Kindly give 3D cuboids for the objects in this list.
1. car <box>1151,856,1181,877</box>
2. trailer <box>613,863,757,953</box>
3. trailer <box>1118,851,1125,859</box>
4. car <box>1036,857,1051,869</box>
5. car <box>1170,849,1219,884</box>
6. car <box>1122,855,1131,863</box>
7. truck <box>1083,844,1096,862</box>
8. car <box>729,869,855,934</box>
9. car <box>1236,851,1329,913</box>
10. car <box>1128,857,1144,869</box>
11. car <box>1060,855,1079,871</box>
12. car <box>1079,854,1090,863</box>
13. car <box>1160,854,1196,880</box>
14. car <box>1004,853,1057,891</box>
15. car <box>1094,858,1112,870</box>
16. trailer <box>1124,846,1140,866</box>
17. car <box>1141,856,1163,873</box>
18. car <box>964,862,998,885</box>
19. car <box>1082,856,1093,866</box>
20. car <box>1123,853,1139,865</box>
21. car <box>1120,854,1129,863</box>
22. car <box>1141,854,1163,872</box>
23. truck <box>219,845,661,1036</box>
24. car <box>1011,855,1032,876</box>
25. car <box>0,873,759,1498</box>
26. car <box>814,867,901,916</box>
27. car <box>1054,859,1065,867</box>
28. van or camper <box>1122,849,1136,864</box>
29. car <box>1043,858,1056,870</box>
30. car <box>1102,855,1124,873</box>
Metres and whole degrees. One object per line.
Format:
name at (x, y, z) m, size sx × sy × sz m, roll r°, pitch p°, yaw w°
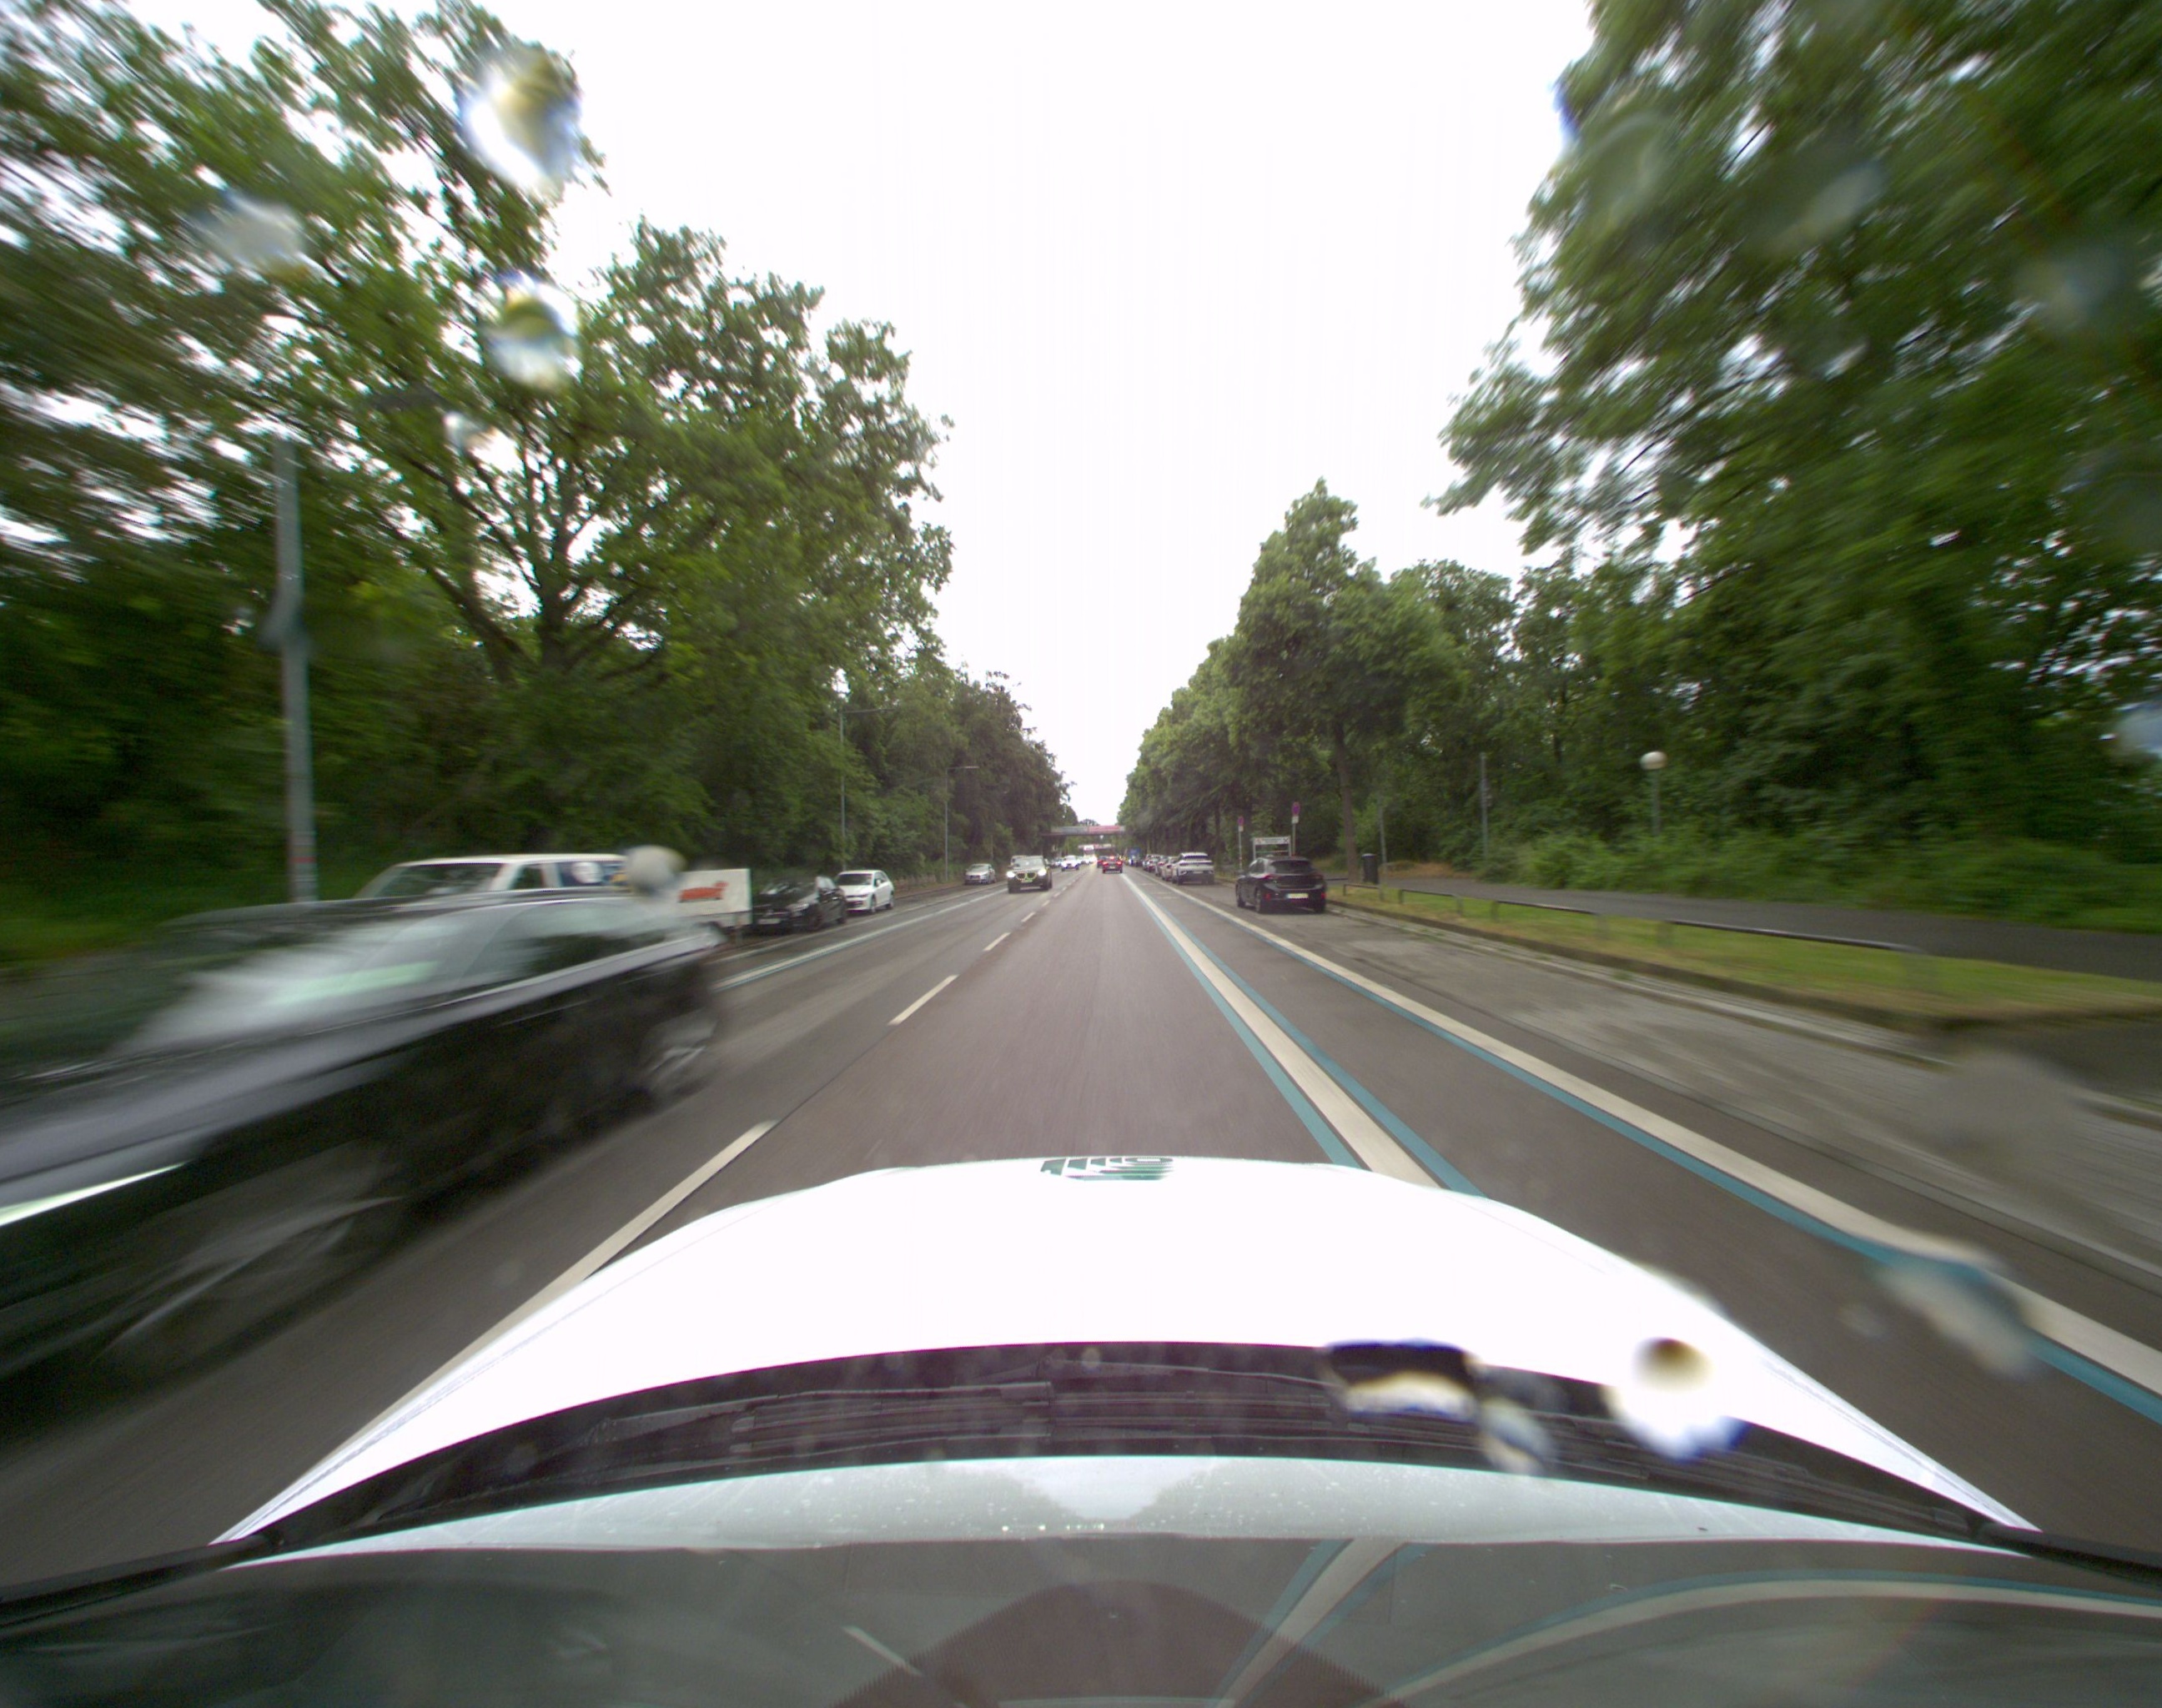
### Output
car at (6.066, 0.849, 58.438) m, size 1.692 × 1.453 × 4.097 m, roll -1°, pitch 0°, yaw 0°
trailer at (-8.096, 1.051, 16.731) m, size 1.334 × 1.657 × 2.280 m, roll -2°, pitch 0°, yaw 39°
trailer at (11.324, 0.381, 230.033) m, size 1.876 × 2.166 × 3.810 m, roll -2°, pitch -1°, yaw 2°
car at (-4.885, 1.183, 107.095) m, size 1.784 × 1.482 × 3.981 m, roll -2°, pitch 0°, yaw 0°
car at (5.782, 0.600, 42.028) m, size 1.986 × 1.662 × 4.564 m, roll -2°, pitch 0°, yaw 2°
car at (9.328, 1.111, 168.255) m, size 1.749 × 1.590 × 4.500 m, roll -1°, pitch 0°, yaw 2°
truck at (1.965, -0.261, 191.476) m, size 2.510 × 4.046 × 4.914 m, roll -4°, pitch 0°, yaw -1°
car at (-7.515, 1.177, 21.696) m, size 1.816 × 1.398 × 4.443 m, roll -2°, pitch 0°, yaw -1°
car at (5.336, 0.684, 22.052) m, size 1.688 × 1.477 × 4.001 m, roll -2°, pitch 0°, yaw 3°
car at (6.838, 1.105, 101.492) m, size 1.819 × 1.503 × 4.572 m, roll -1°, pitch 0°, yaw 1°
car at (-1.251, 0.993, 92.991) m, size 1.947 × 1.639 × 4.445 m, roll -2°, pitch 0°, yaw 1°
car at (0.630, 0.733, 137.921) m, size 1.770 × 1.466 × 4.063 m, roll -4°, pitch 0°, yaw 0°
car at (5.689, 0.754, 48.237) m, size 1.692 × 1.453 × 3.946 m, roll -1°, pitch 0°, yaw 0°
car at (-2.379, 0.834, 39.420) m, size 2.030 × 1.649 × 4.479 m, roll -3°, pitch 0°, yaw 2°
car at (2.818, 1.219, 103.397) m, size 2.133 × 1.492 × 4.497 m, roll -1°, pitch 0°, yaw 0°
trailer at (7.252, 0.296, 116.172) m, size 1.945 × 2.758 × 4.008 m, roll -1°, pitch 0°, yaw 1°
car at (6.757, 0.991, 78.020) m, size 1.747 × 1.597 × 4.741 m, roll -1°, pitch 0°, yaw 1°
car at (-6.897, 1.319, 56.488) m, size 1.683 × 1.405 × 4.030 m, roll -1°, pitch 0°, yaw 2°
car at (1.268, 1.285, 152.197) m, size 1.954 × 1.617 × 4.467 m, roll -3°, pitch 0°, yaw 1°
car at (6.758, 0.690, 110.366) m, size 1.894 × 1.547 × 4.753 m, roll 0°, pitch 0°, yaw -1°
car at (10.051, 1.004, 186.674) m, size 1.919 × 2.022 × 4.665 m, roll -1°, pitch 0°, yaw 2°
car at (6.232, 0.741, 71.879) m, size 1.691 × 1.513 × 4.471 m, roll -1°, pitch 0°, yaw 2°
truck at (-8.295, 0.937, 11.440) m, size 2.086 × 2.013 × 5.158 m, roll -2°, pitch 0°, yaw 0°
car at (-5.915, 1.095, 81.495) m, size 1.969 × 2.005 × 5.013 m, roll -1°, pitch 0°, yaw -3°
car at (-3.522, 0.918, 4.241) m, size 1.758 × 1.457 × 4.496 m, roll -4°, pitch -1°, yaw 1°
car at (-7.680, 1.242, 28.409) m, size 1.749 × 1.435 × 4.356 m, roll -2°, pitch 0°, yaw 0°
car at (-3.953, 1.619, 150.157) m, size 1.778 × 1.423 × 4.296 m, roll -2°, pitch 0°, yaw 1°
van or camper at (8.647, 0.429, 147.153) m, size 2.035 × 2.729 × 6.901 m, roll -1°, pitch 0°, yaw 1°
car at (-4.530, 1.422, 117.549) m, size 1.826 × 1.477 × 4.038 m, roll -2°, pitch 0°, yaw -1°
car at (2.834, 0.851, 72.121) m, size 1.811 × 1.508 × 4.141 m, roll -1°, pitch 0°, yaw 2°
